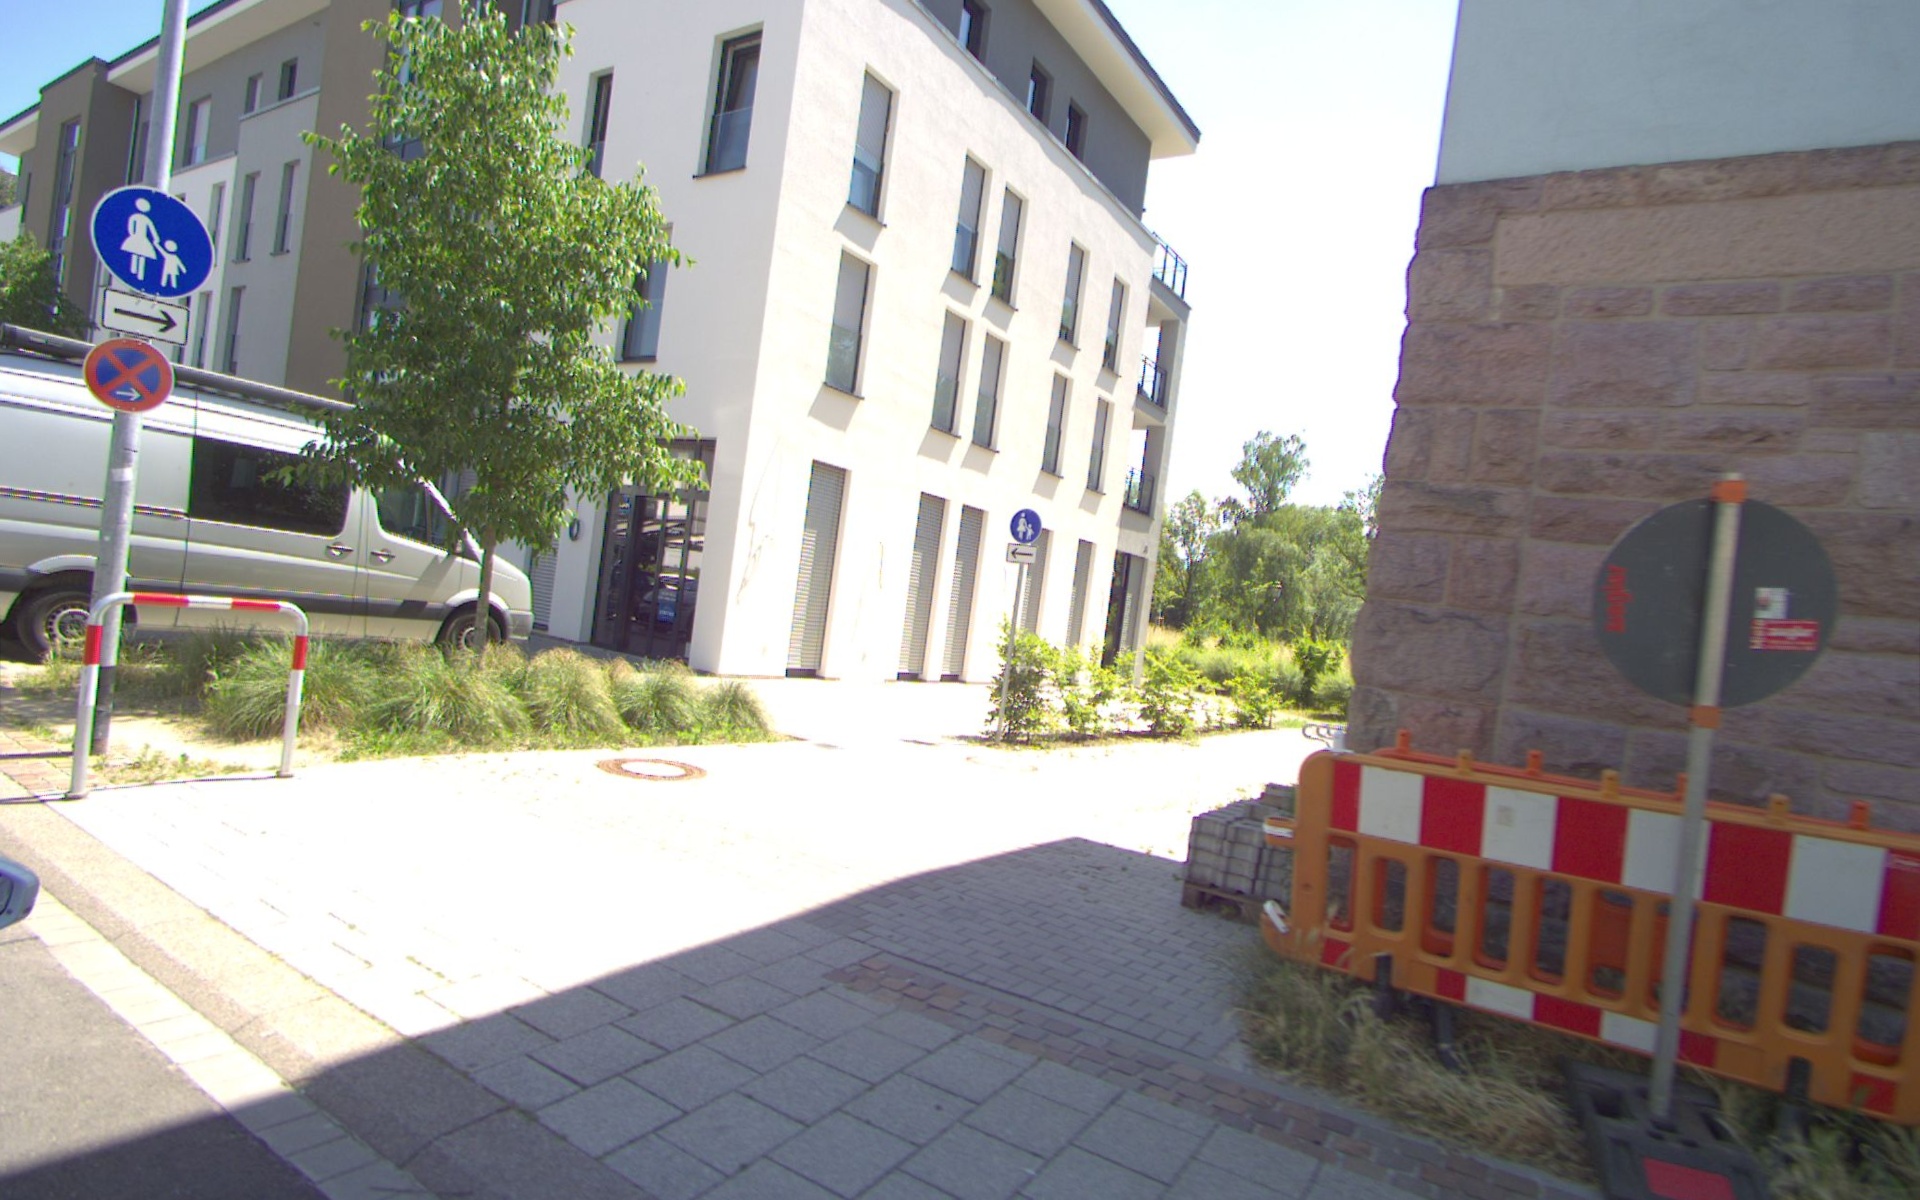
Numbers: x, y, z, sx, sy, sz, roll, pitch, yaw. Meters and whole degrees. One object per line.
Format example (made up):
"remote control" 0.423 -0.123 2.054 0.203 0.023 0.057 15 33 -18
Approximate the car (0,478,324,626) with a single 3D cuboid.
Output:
"car" -11.501 -0.666 13.434 1.969 1.547 4.590 7 -1 35

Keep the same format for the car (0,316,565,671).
"car" -7.551 -0.837 10.547 2.161 2.765 5.944 7 0 34

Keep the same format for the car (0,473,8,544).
"car" -23.752 -2.335 21.910 1.912 1.624 3.983 7 0 34

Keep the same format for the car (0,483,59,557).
"car" -21.376 -1.894 20.607 1.734 1.449 3.984 7 -1 34

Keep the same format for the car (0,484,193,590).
"car" -15.565 -1.151 16.501 1.896 1.433 4.263 7 -1 31

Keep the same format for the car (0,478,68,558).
"car" -19.530 -1.744 18.736 1.827 1.426 3.972 7 0 33
